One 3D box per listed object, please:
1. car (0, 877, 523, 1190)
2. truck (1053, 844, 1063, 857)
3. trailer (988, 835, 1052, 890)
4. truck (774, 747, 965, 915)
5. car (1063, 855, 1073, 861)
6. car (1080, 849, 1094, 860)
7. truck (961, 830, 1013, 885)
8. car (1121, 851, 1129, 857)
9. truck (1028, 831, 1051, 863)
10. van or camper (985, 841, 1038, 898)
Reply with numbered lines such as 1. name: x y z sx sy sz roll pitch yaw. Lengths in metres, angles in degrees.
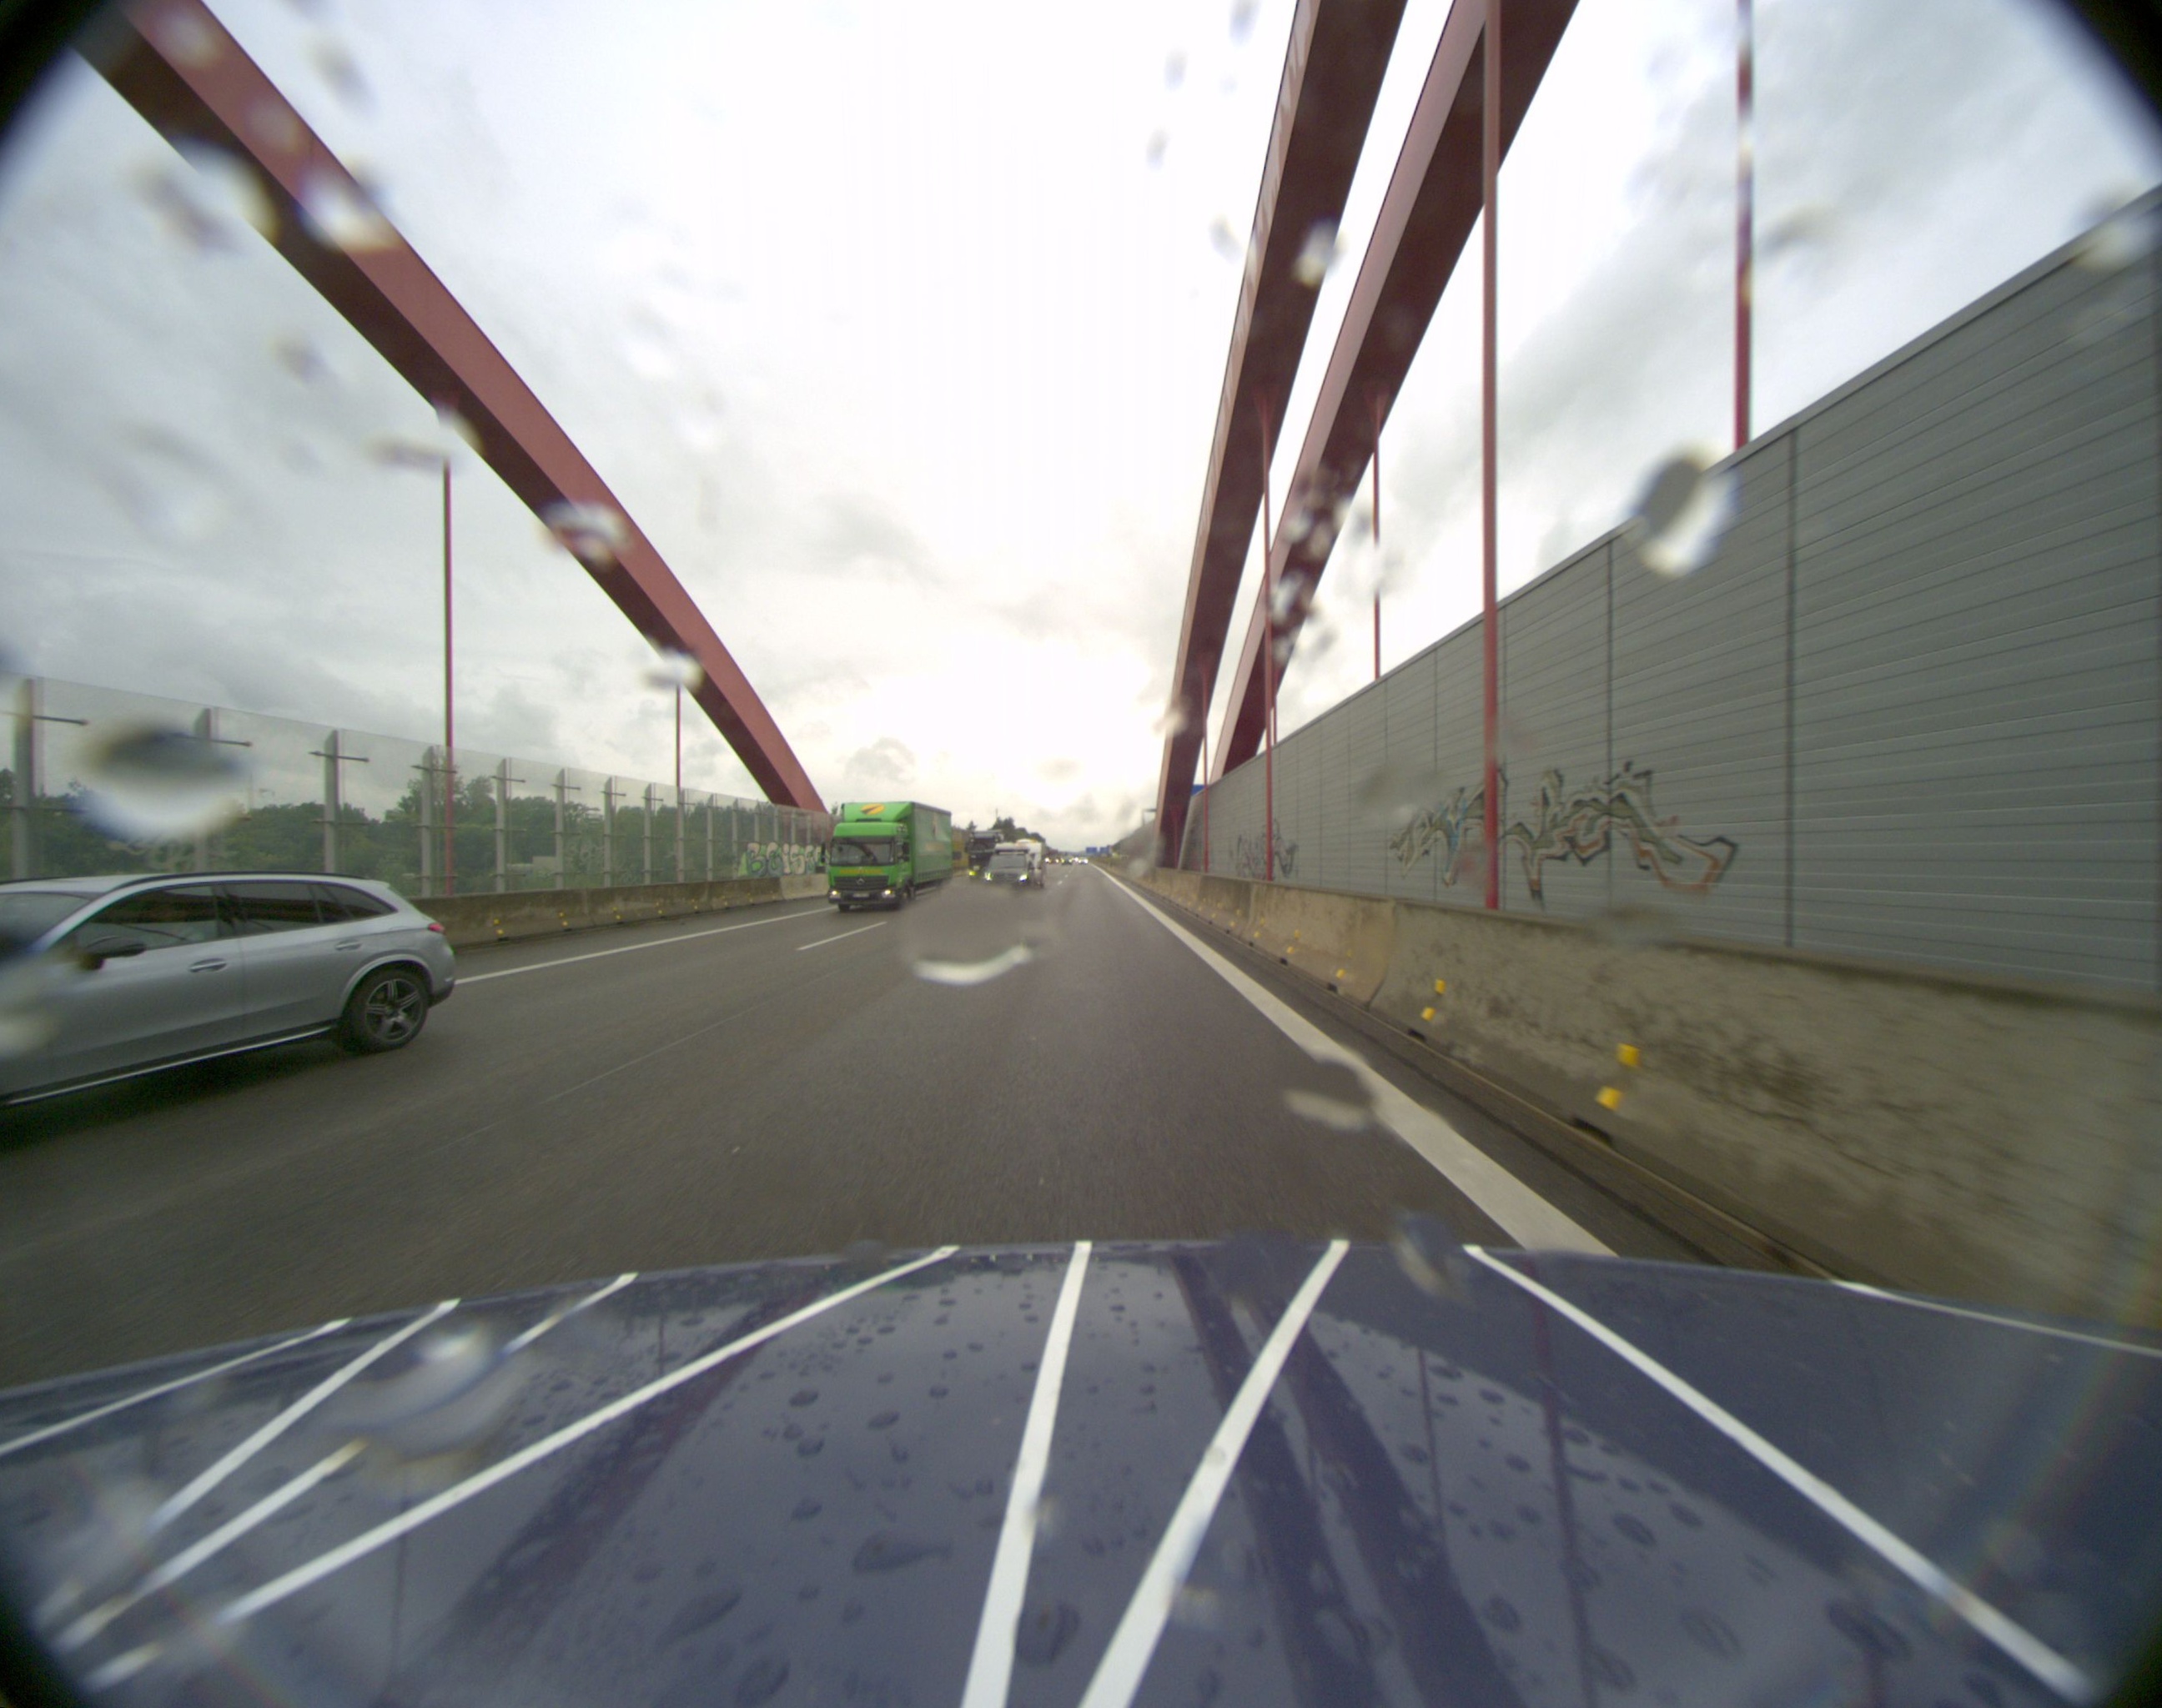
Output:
1. car: -7.089 1.101 5.554 1.998 1.610 5.327 -1 0 0
2. truck: -6.110 -0.887 202.352 2.617 3.218 4.632 -1 0 -1
3. trailer: -3.080 0.434 40.300 2.728 2.627 7.511 -1 0 0
4. truck: -7.583 -0.765 29.774 4.007 5.235 11.218 -2 0 1
5. car: -2.595 0.754 153.261 2.061 1.020 3.437 -2 0 -1
6. car: 1.316 0.054 161.573 2.680 2.340 5.807 -1 0 -3
7. truck: -7.260 0.207 60.438 2.820 3.927 12.710 0 0 -2
8. car: 13.901 -0.009 242.222 2.219 2.002 7.058 -2 0 0
9. truck: -5.541 -0.952 101.710 2.693 3.935 9.324 -2 0 -2
10. van or camper: -2.998 0.624 33.742 1.895 2.256 5.678 -2 0 -1
